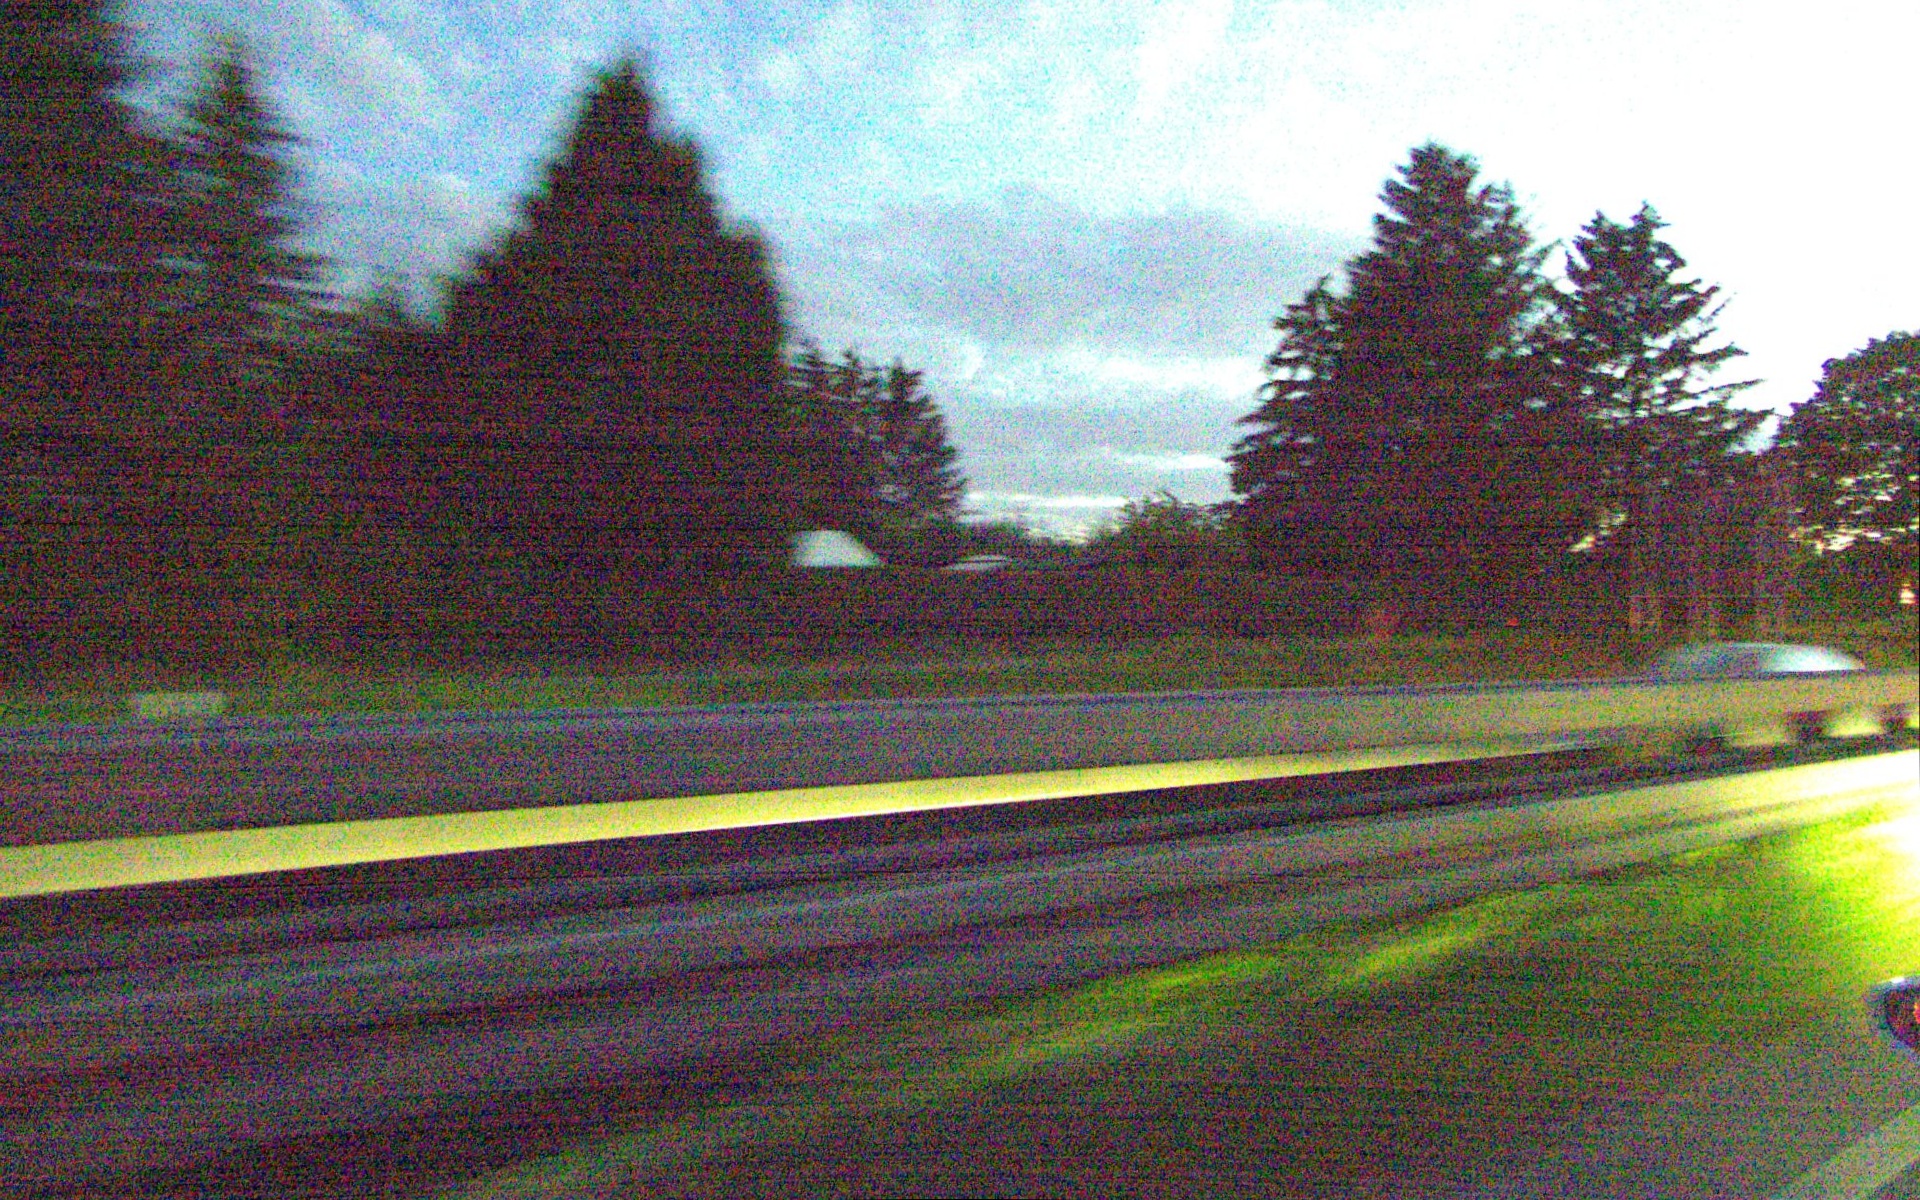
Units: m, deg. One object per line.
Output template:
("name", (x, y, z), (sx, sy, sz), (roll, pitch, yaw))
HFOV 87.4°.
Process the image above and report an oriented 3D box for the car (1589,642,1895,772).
("car", (10.607, 1.333, 13.545), (4.521, 1.426, 1.711), (2, 0, -31))
